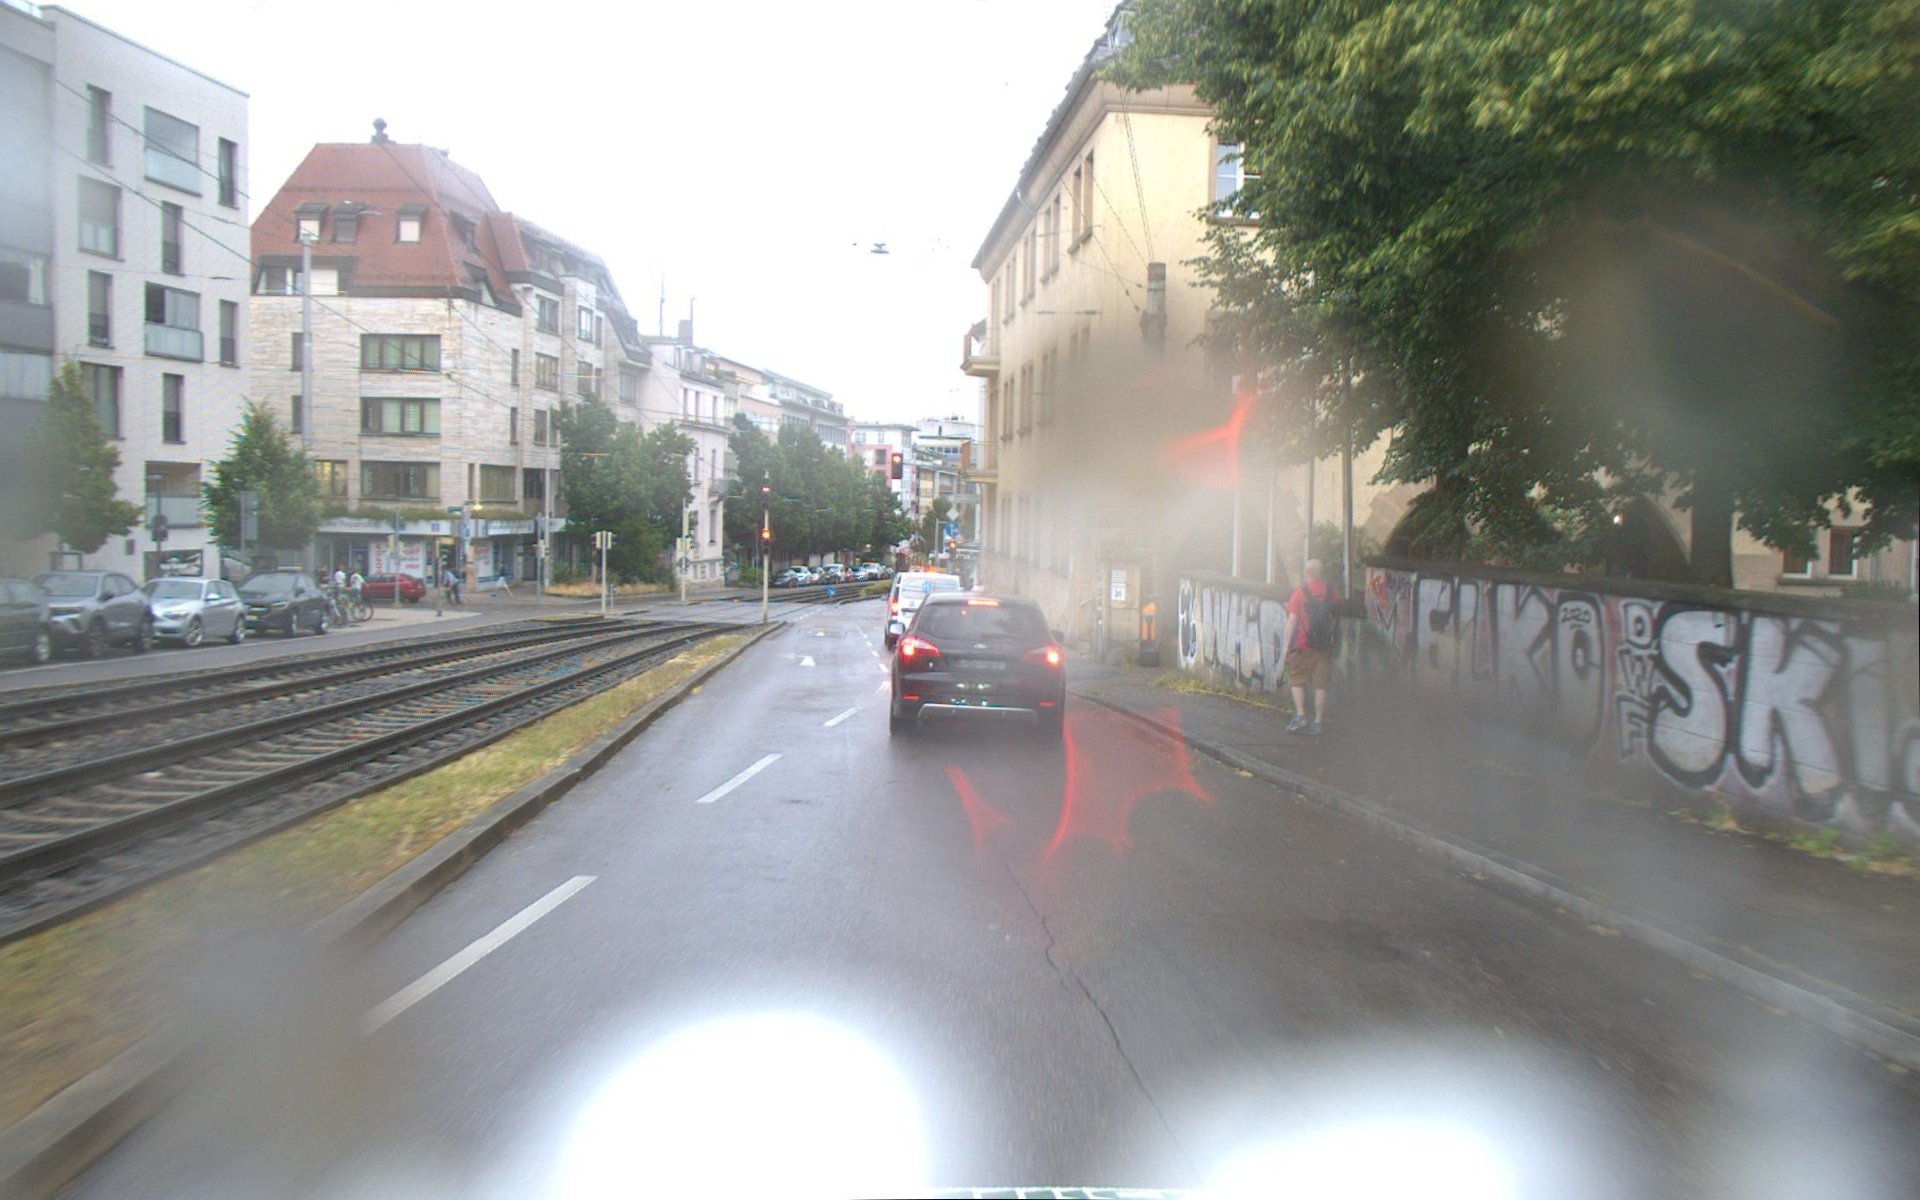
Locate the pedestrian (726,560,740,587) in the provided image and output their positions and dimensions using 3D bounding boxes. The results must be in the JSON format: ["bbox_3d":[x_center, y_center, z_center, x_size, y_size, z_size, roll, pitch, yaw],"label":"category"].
[{"bbox_3d":[-17.670,-2.038,128.698,0.925,2.049,0.762,1,0,-14],"label":"pedestrian"}]

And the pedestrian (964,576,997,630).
[{"bbox_3d":[0.699,0.096,57.237,1.025,1.826,0.901,1,0,-6],"label":"pedestrian"}]

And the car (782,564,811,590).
[{"bbox_3d":[-13.645,-1.904,137.944,1.952,2.049,4.001,1,1,1],"label":"car"}]

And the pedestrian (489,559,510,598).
[{"bbox_3d":[-23.332,-1.088,83.820,0.888,1.965,0.824,1,0,-7],"label":"pedestrian"}]

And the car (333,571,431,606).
[{"bbox_3d":[-27.878,-0.558,79.781,4.046,1.596,1.824,1,1,5],"label":"car"}]

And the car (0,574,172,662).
[{"bbox_3d":[-16.245,0.304,30.719,1.739,1.530,3.915,0,0,-7],"label":"car"}]

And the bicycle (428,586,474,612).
[{"bbox_3d":[-21.164,-0.050,68.822,1.785,1.082,0.451,-1,1,-40],"label":"bicycle"}]

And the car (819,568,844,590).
[{"bbox_3d":[-12.028,-1.970,155.276,1.952,2.049,4.001,1,1,1],"label":"car"}]

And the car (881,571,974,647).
[{"bbox_3d":[-0.751,0.170,40.947,2.092,1.775,4.219,0,1,1],"label":"car"}]

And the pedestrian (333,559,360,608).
[{"bbox_3d":[-26.095,-0.700,70.365,0.924,2.049,0.763,1,0,-8],"label":"pedestrian"}]

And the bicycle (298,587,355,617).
[{"bbox_3d":[-20.322,0.068,53.061,1.622,0.881,0.567,2,0,-15],"label":"bicycle"}]

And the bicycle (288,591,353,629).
[{"bbox_3d":[-19.462,0.297,50.365,1.769,1.082,0.455,2,0,-19],"label":"bicycle"}]

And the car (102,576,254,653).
[{"bbox_3d":[-16.613,0.283,35.365,1.739,1.530,4.077,0,0,-7],"label":"car"}]

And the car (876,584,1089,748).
[{"bbox_3d":[0.121,0.633,17.892,1.882,1.505,3.996,2,0,-5],"label":"car"}]

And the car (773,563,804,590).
[{"bbox_3d":[-13.623,-1.888,131.638,1.952,2.049,4.001,1,1,1],"label":"car"}]

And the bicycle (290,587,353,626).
[{"bbox_3d":[-19.756,0.207,51.186,1.773,1.127,0.452,2,0,-24],"label":"bicycle"}]

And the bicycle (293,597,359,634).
[{"bbox_3d":[-18.577,0.455,48.477,1.769,1.082,0.455,1,1,-19],"label":"bicycle"}]

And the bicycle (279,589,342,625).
[{"bbox_3d":[-20.516,0.221,52.287,1.768,1.082,0.567,2,0,-17],"label":"bicycle"}]

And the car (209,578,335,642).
[{"bbox_3d":[-17.436,0.219,42.110,1.875,1.530,4.230,0,0,-7],"label":"car"}]

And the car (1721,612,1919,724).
[{"bbox_3d":[14.589,1.046,26.075,4.356,1.615,1.796,0,2,4],"label":"car"}]

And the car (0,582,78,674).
[{"bbox_3d":[-15.665,0.422,26.093,1.518,1.386,4.007,2,0,-3],"label":"car"}]

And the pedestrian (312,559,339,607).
[{"bbox_3d":[-27.234,-0.727,70.998,0.924,2.049,0.763,1,0,-8],"label":"pedestrian"}]

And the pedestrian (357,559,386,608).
[{"bbox_3d":[-25.078,-0.695,70.485,0.923,2.049,0.764,1,0,-4],"label":"pedestrian"}]

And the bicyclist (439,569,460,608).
[{"bbox_3d":[-21.218,-0.461,68.764,0.695,1.601,0.456,2,0,-40],"label":"bicyclist"}]

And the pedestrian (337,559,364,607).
[{"bbox_3d":[-26.530,-0.739,71.954,0.924,2.049,0.763,1,0,-8],"label":"pedestrian"}]

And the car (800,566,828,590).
[{"bbox_3d":[-12.734,-1.907,144.324,1.952,2.049,4.001,1,1,1],"label":"car"}]

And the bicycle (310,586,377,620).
[{"bbox_3d":[-20.214,0.091,54.260,1.915,1.045,0.719,2,0,-13],"label":"bicycle"}]

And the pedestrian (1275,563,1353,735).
[{"bbox_3d":[3.678,0.499,17.233,0.619,1.751,0.711,1,0,-3],"label":"pedestrian"}]

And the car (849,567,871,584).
[{"bbox_3d":[-10.179,-2.494,168.428,1.952,1.691,4.001,1,1,1],"label":"car"}]
